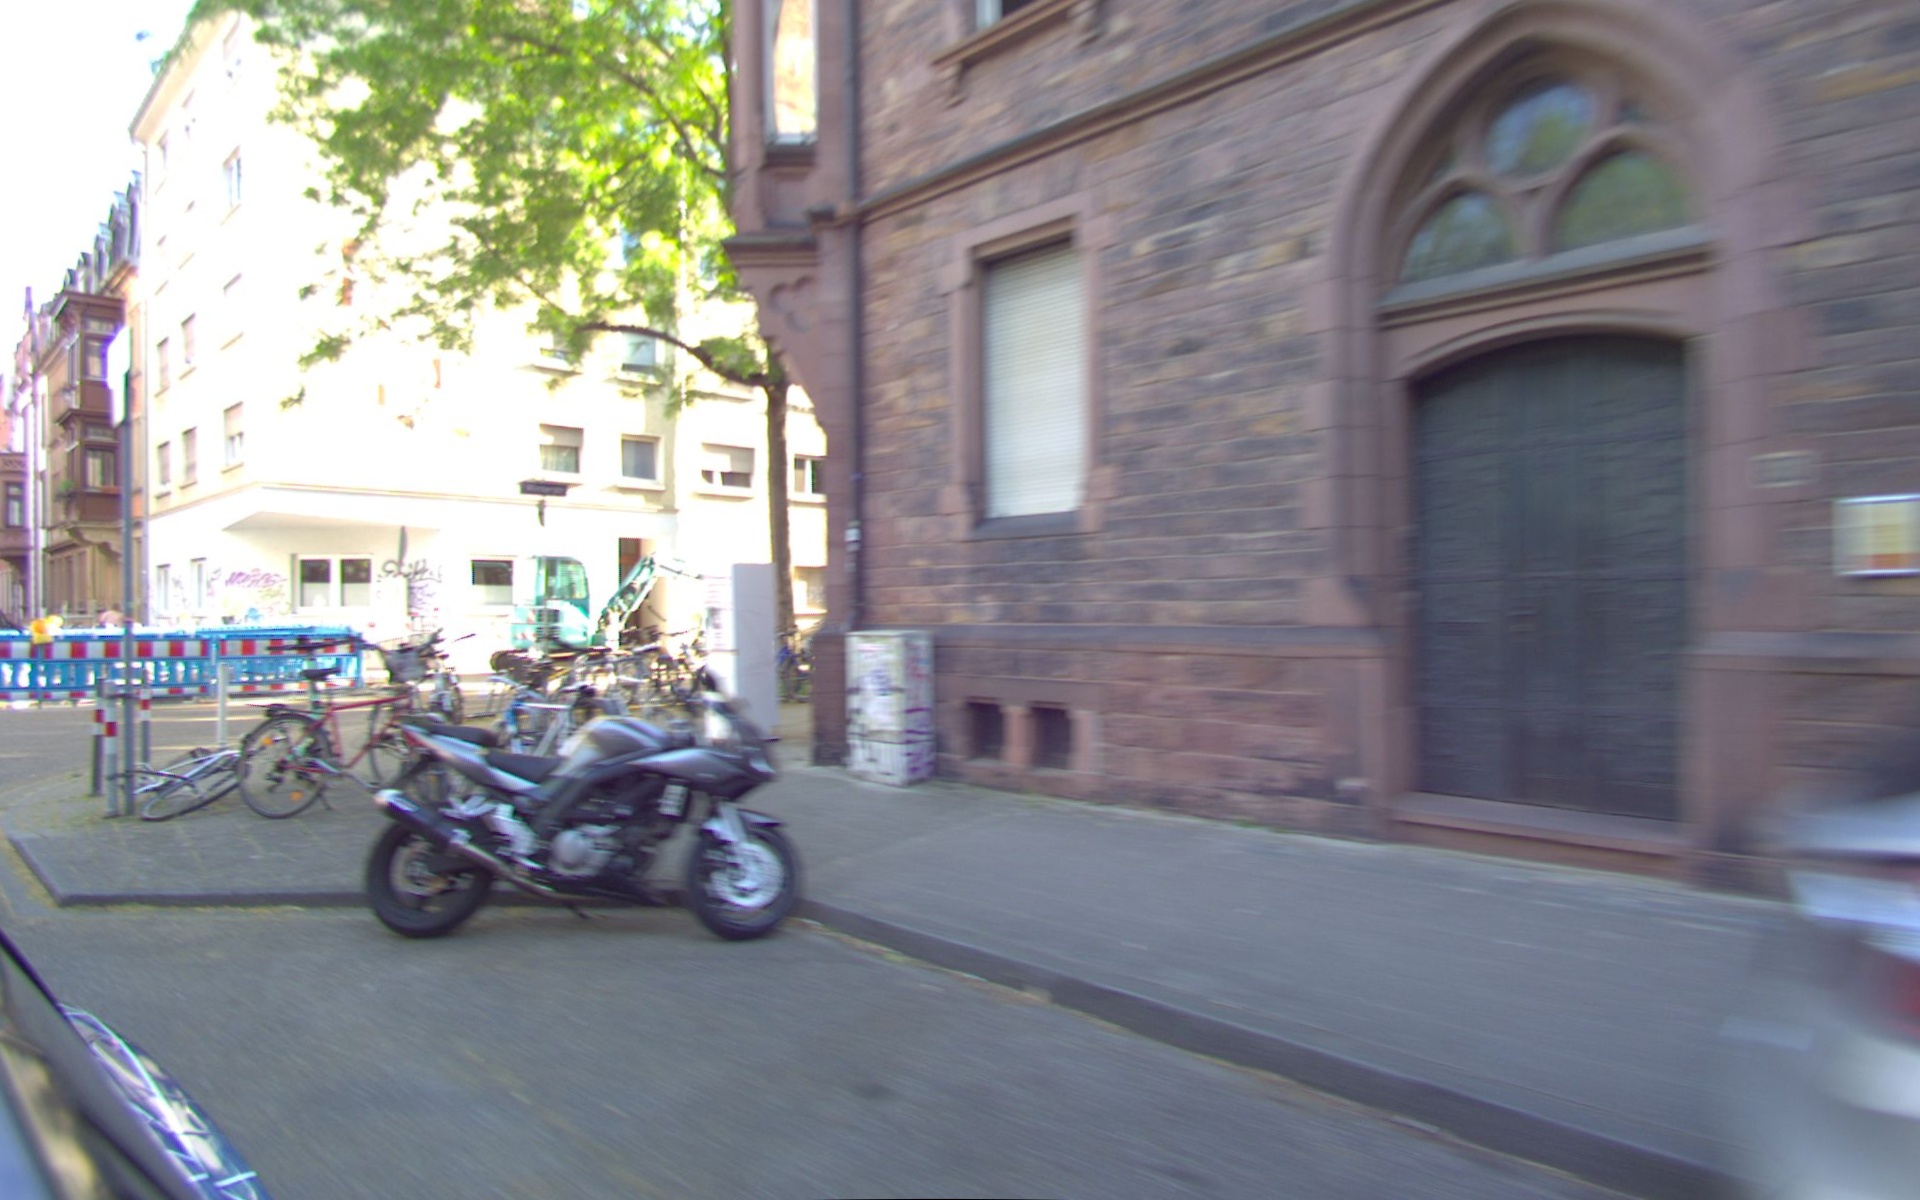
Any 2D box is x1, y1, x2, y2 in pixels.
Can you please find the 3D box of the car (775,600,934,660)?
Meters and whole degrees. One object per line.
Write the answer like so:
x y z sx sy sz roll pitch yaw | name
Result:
-2.761 0.754 27.017 3.939 1.452 1.817 0 1 -43 | car

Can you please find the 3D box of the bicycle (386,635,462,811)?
-3.559 0.762 6.693 0.230 1.050 1.200 -1 0 -37 | bicycle

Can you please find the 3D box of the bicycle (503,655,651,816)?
-2.564 0.855 6.701 1.420 0.913 0.231 0 2 40 | bicycle

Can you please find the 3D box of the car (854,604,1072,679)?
0.086 0.715 18.473 3.709 1.232 1.585 0 1 16 | car

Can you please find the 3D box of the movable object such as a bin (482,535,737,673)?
-7.758 0.040 22.781 5.079 2.768 2.002 0 2 -44 | movable object such as a bin

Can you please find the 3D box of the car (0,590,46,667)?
-23.203 0.677 23.912 3.995 1.718 1.754 -1 -1 39 | car

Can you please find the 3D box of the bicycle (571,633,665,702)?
-4.978 0.976 14.681 1.757 0.933 0.485 -4 -2 42 | bicycle

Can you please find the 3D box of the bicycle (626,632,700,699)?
-4.455 0.969 15.105 0.484 0.933 1.761 -1 -2 -36 | bicycle

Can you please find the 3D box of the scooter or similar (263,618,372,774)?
-5.290 0.775 8.310 1.164 1.183 0.440 -5 -3 42 | scooter or similar

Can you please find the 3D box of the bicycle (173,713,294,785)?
-5.610 1.126 7.799 1.196 0.446 0.446 -3 -2 39 | bicycle

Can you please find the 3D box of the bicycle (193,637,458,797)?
-4.286 0.783 6.857 1.661 1.050 0.234 0 1 2 | bicycle

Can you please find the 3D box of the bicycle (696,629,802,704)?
-2.876 0.891 13.855 1.402 0.933 0.313 -1 -2 -37 | bicycle

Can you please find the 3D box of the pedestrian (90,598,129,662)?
-21.739 0.751 25.863 0.597 1.607 0.662 -1 -1 38 | pedestrian

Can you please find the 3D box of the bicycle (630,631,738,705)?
-3.816 0.923 14.043 1.402 0.933 0.313 -1 -2 -37 | bicycle

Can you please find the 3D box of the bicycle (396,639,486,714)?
-7.059 1.029 13.720 1.757 0.933 0.485 -4 -2 42 | bicycle

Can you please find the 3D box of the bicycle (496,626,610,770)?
-3.247 0.752 8.006 1.452 1.050 0.230 -4 -2 44 | bicycle

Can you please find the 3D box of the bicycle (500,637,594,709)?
-5.793 1.012 14.145 1.757 0.933 0.485 -4 -2 42 | bicycle

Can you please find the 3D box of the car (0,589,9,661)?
-27.019 0.677 27.068 3.995 1.866 1.782 -1 -1 39 | car

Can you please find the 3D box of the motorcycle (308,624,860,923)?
-1.636 0.756 4.707 2.292 1.260 0.702 1 -1 -3 | motorcycle

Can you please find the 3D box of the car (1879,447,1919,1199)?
3.013 0.727 0.130 4.278 1.687 1.690 0 -3 43 | car

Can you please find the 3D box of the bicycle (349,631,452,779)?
-4.289 0.784 7.734 1.196 1.050 0.231 -3 -2 39 | bicycle

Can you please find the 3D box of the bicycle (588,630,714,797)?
-2.181 0.751 7.073 1.296 1.050 0.230 0 0 44 | bicycle
